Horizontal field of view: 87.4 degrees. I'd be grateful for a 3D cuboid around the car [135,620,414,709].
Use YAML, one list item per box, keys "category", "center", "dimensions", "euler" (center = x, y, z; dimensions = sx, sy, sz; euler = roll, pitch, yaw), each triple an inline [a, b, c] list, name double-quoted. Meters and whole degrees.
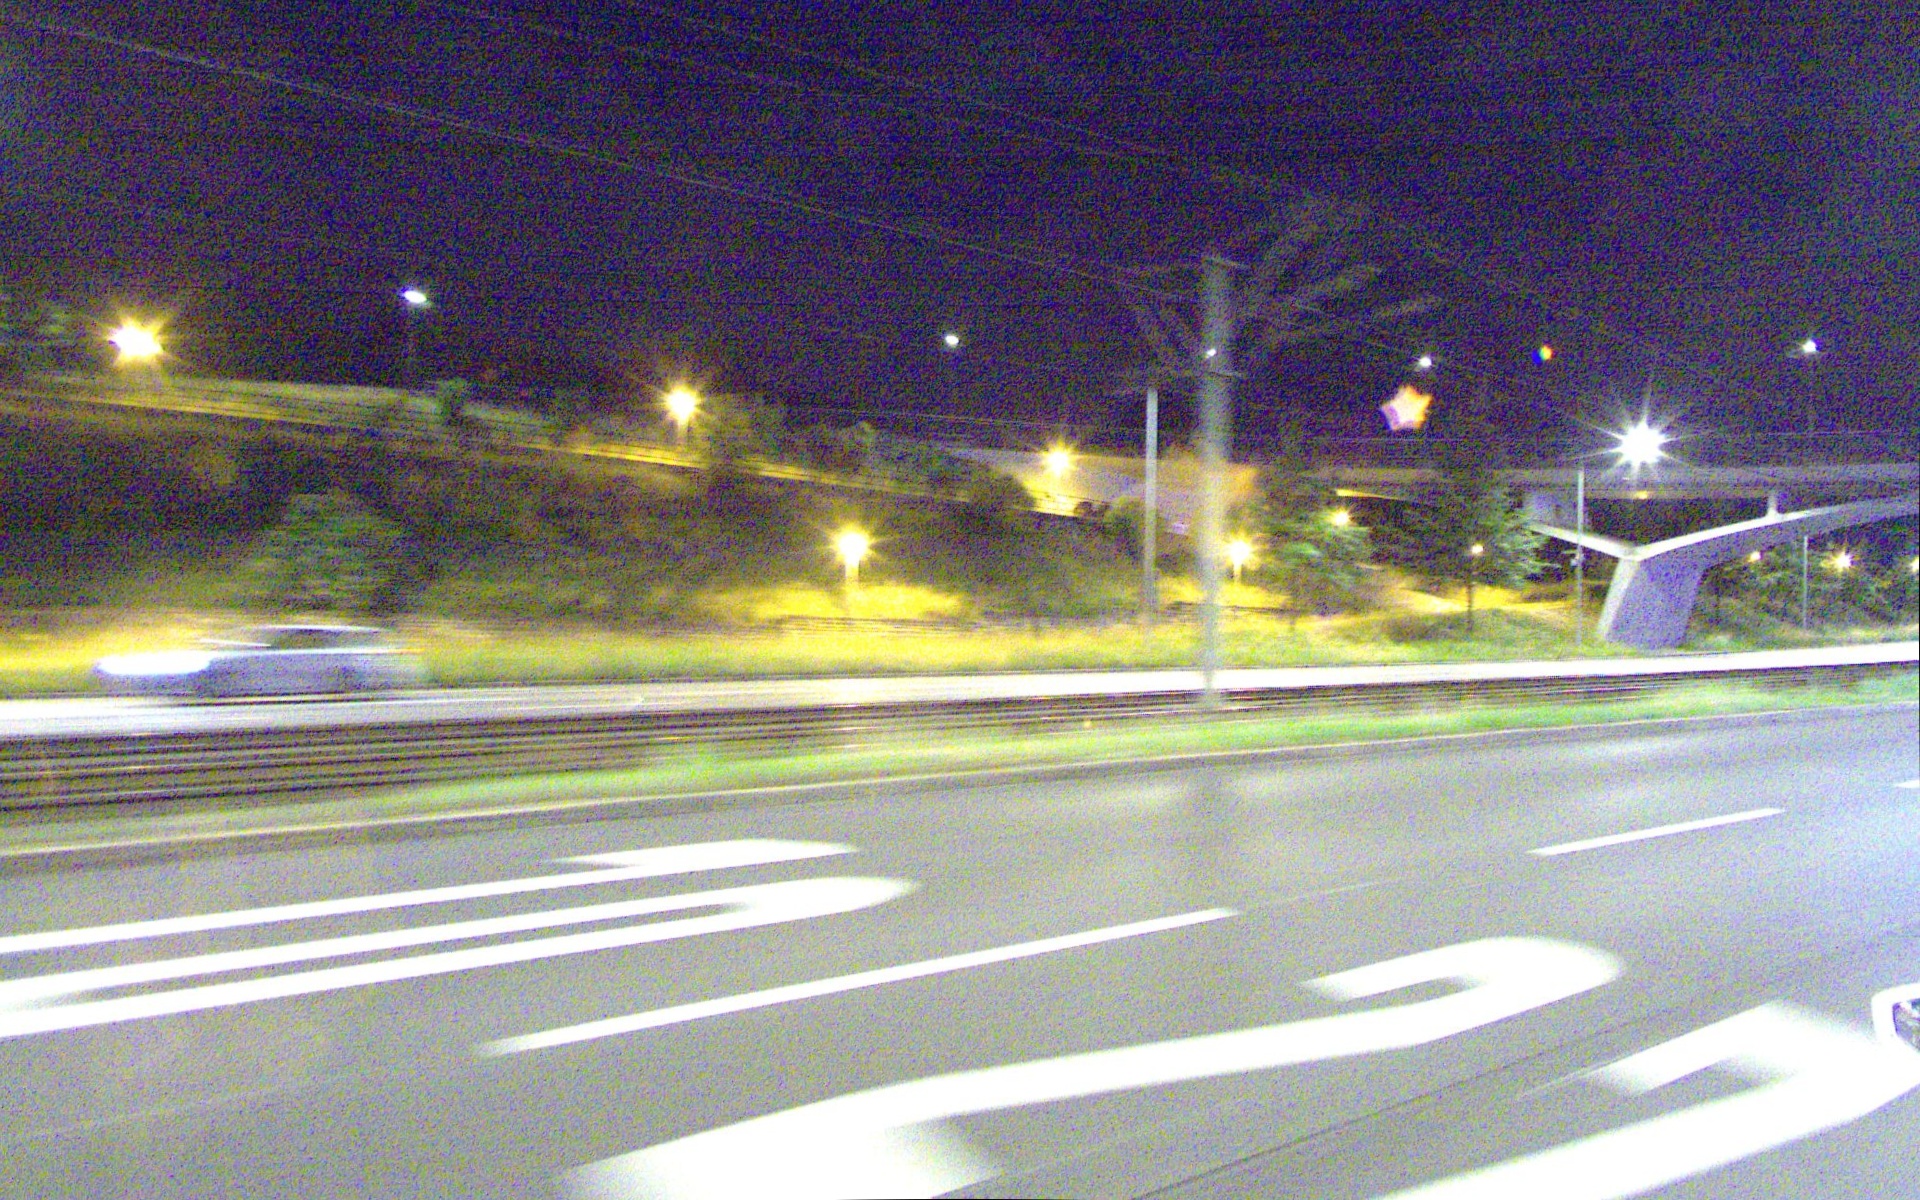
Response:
- category: "car"
  center: [-12.828, 1.178, 19.097]
  dimensions: [4.159, 1.500, 1.975]
  euler: [1, -3, -33]
